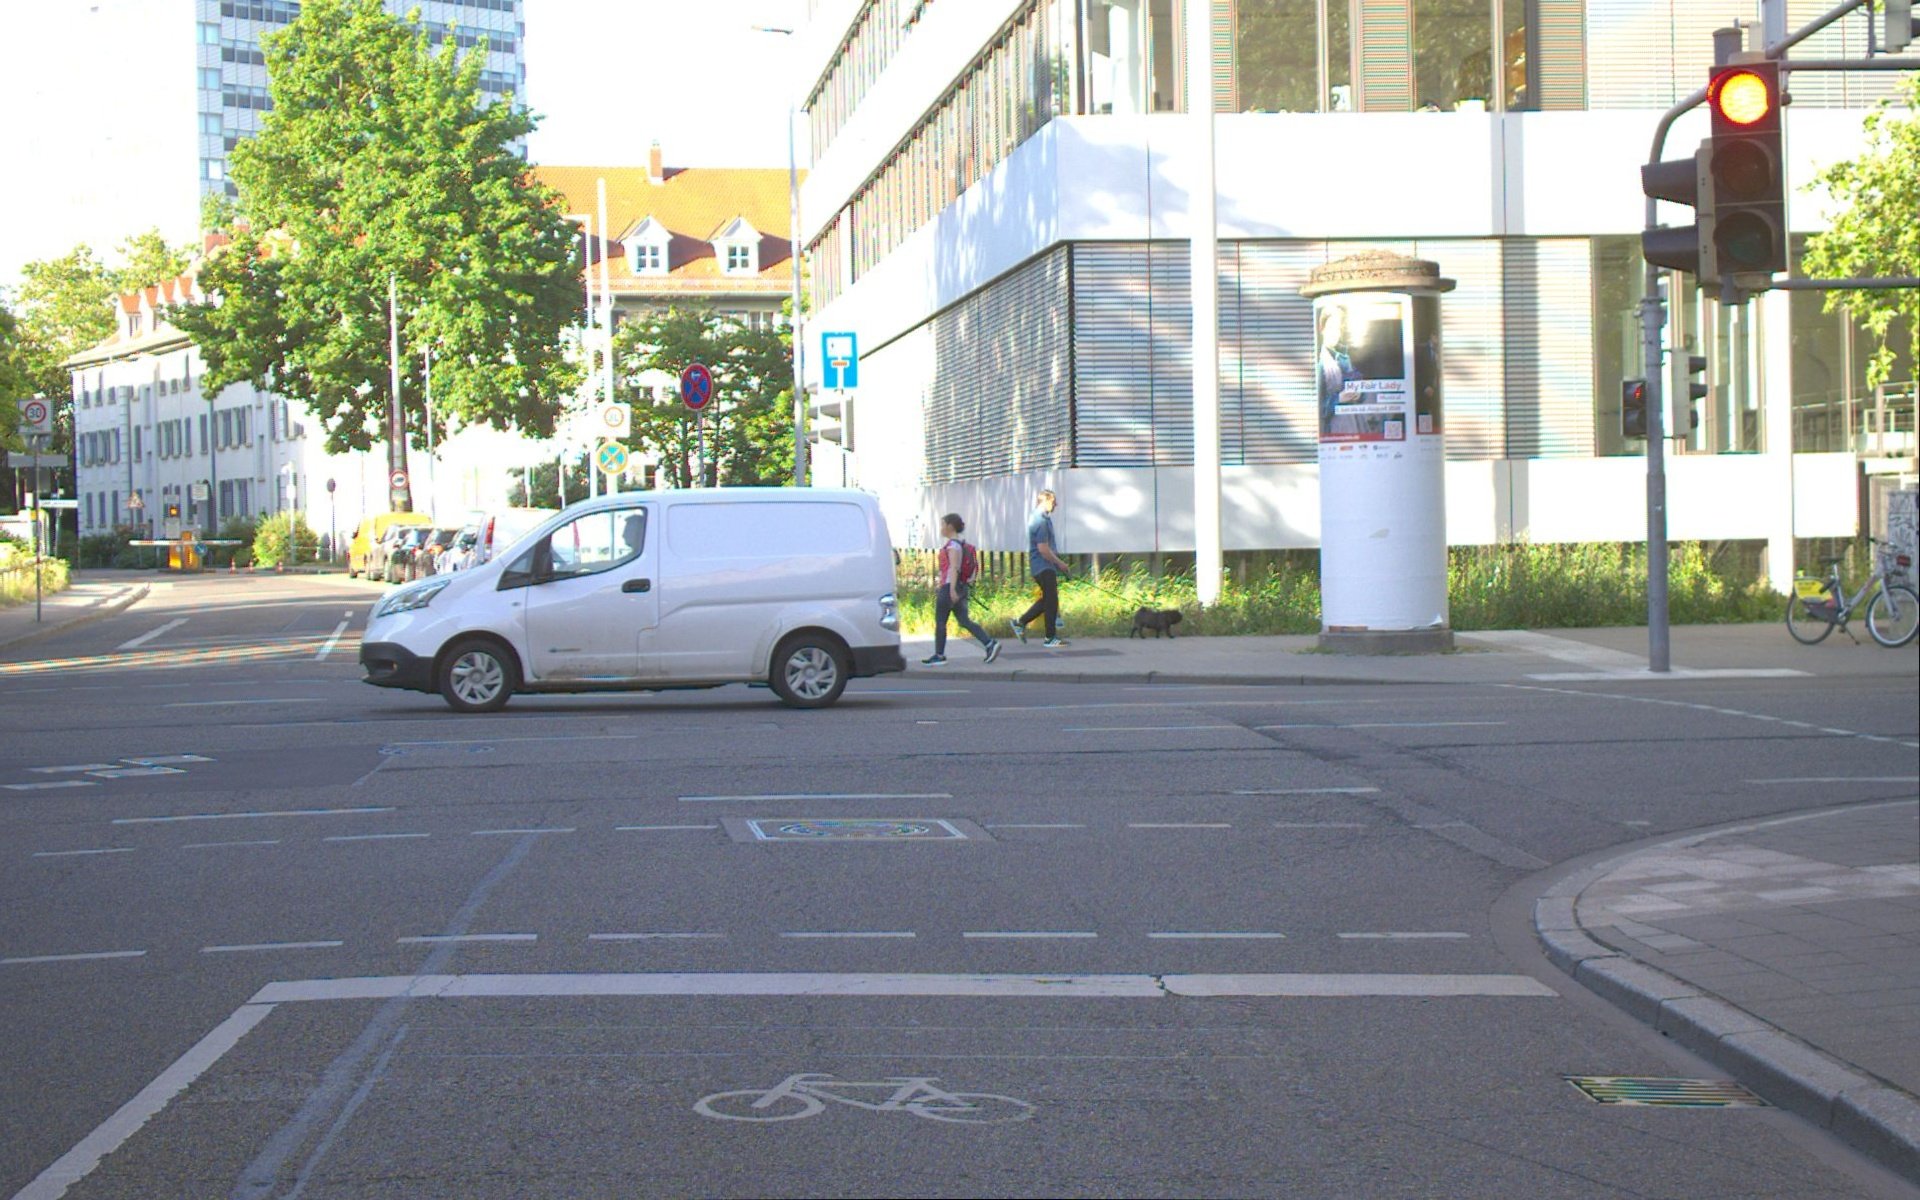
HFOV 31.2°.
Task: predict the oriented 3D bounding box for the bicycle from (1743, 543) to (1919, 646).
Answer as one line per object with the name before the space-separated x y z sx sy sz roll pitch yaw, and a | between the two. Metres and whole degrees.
bicycle | 9.167 -0.065 36.114 0.463 1.045 1.914 -2 2 -42

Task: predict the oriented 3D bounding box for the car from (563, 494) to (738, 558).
car | -9.265 -2.188 102.837 4.880 1.865 2.001 0 1 -17

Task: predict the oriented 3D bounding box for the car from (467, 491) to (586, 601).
car | -8.188 -1.038 64.631 2.066 1.956 4.239 -1 1 -9

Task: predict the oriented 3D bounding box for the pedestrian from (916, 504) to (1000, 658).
pedestrian | -0.016 -0.205 36.266 0.712 1.594 0.617 -1 1 17

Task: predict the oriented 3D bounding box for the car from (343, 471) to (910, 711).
car | -2.791 -0.101 28.836 4.539 1.793 1.637 -2 2 -7

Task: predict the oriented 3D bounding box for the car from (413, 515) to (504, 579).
car | -11.871 -1.267 81.137 1.703 1.419 4.239 -1 2 -14

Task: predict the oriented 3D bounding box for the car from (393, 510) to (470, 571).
car | -13.216 -1.494 85.823 1.703 1.459 4.239 -1 2 -11

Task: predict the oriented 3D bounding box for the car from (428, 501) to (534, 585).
car | -10.684 -1.280 76.500 1.946 1.789 4.239 -1 2 -13

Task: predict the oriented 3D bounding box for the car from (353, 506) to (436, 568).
car | -15.767 -1.770 95.643 2.100 1.652 4.477 -1 2 -11

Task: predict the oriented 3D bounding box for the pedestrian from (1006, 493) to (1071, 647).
pedestrian | 0.897 -0.346 39.132 0.652 1.730 0.812 -1 1 6
